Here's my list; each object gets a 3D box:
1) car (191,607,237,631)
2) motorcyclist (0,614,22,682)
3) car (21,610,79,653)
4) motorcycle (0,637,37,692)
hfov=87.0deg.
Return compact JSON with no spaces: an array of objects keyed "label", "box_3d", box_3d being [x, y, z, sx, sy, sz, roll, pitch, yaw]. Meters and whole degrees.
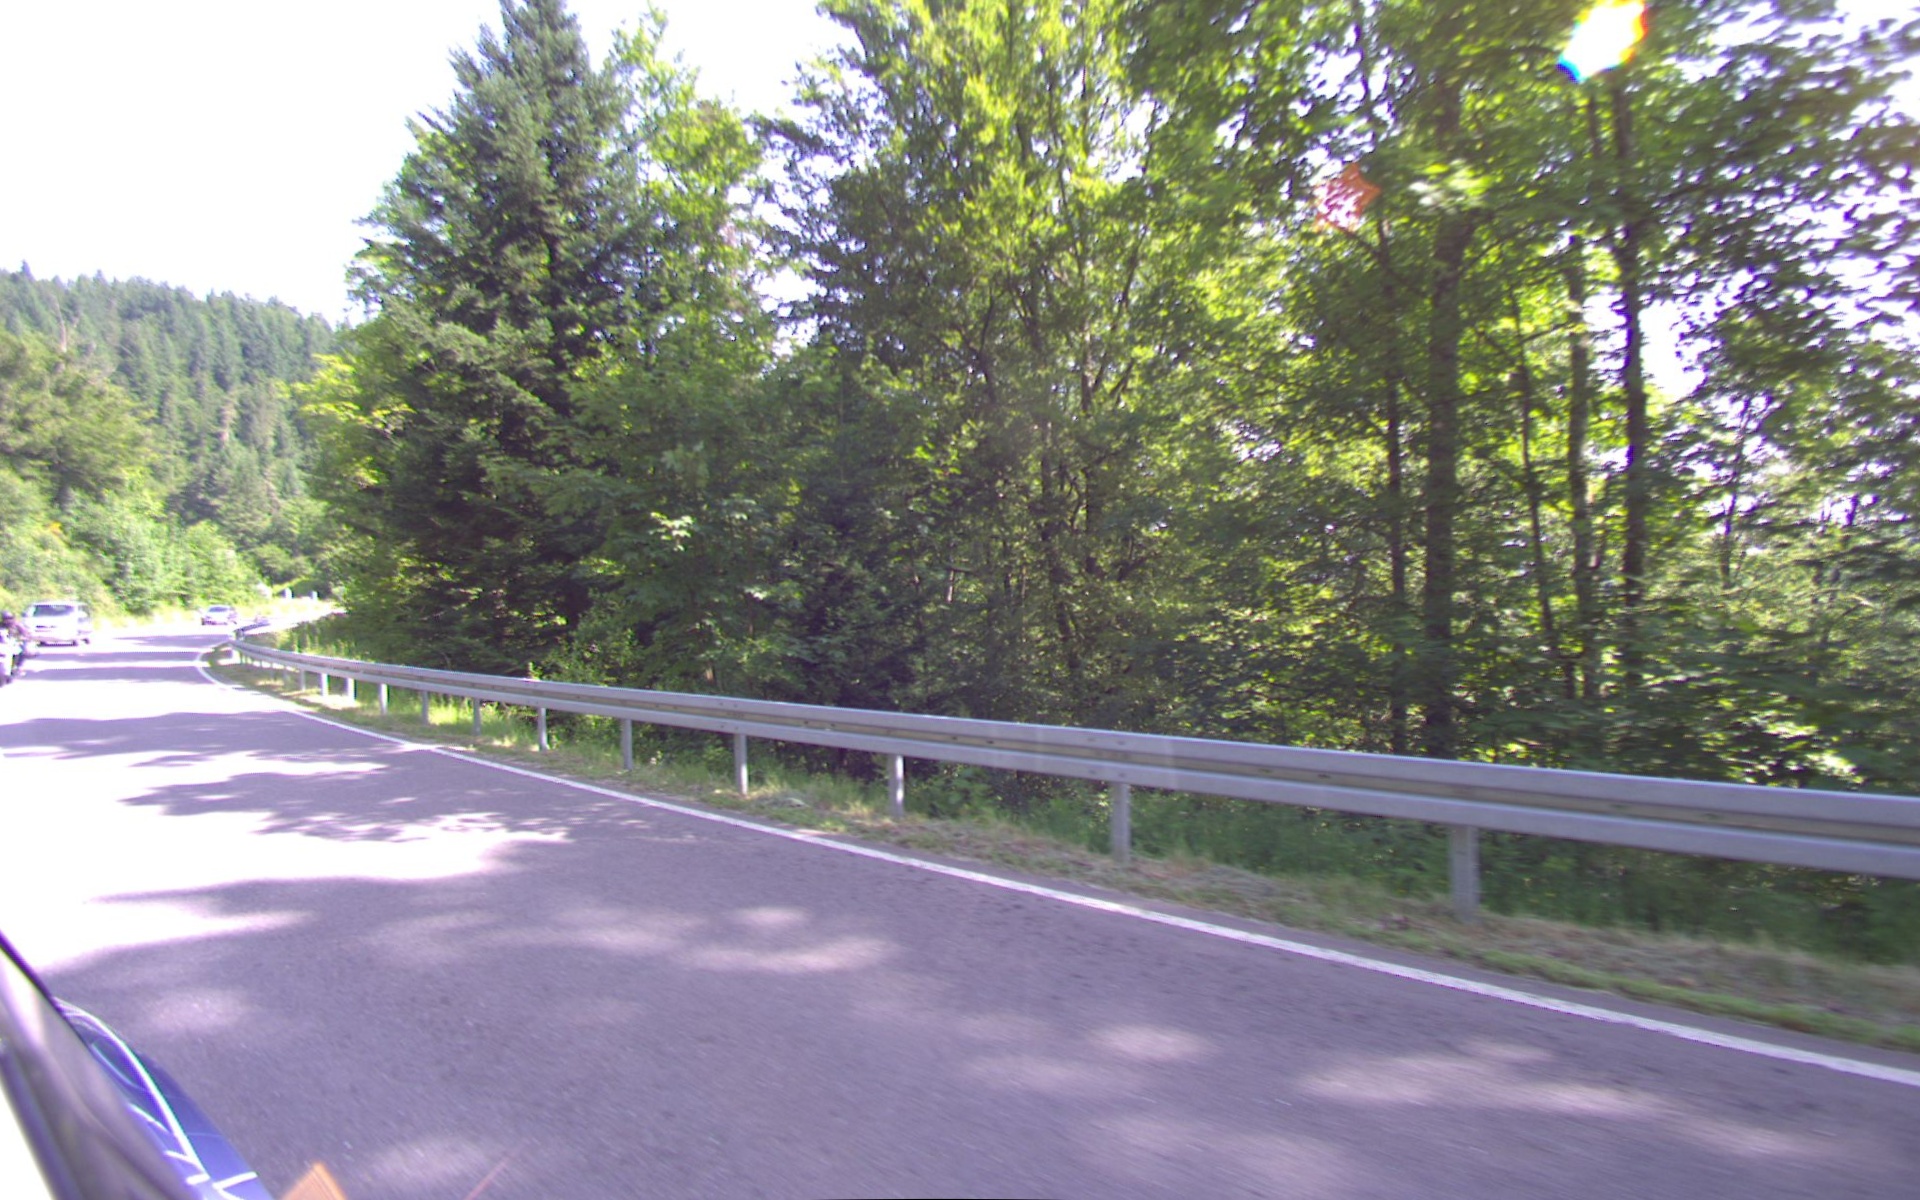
[{"label":"car","box_3d":[-56.346,1.435,76.499,1.965,1.655,4.013,0,1,-24]},{"label":"motorcyclist","box_3d":[-20.867,1.031,21.934,0.706,1.441,1.001,-1,0,-41]},{"label":"car","box_3d":[-39.126,1.322,43.585,1.628,1.773,3.801,1,-1,-39]},{"label":"motorcycle","box_3d":[-20.854,1.389,21.992,1.093,1.132,1.963,1,-1,-41]}]
